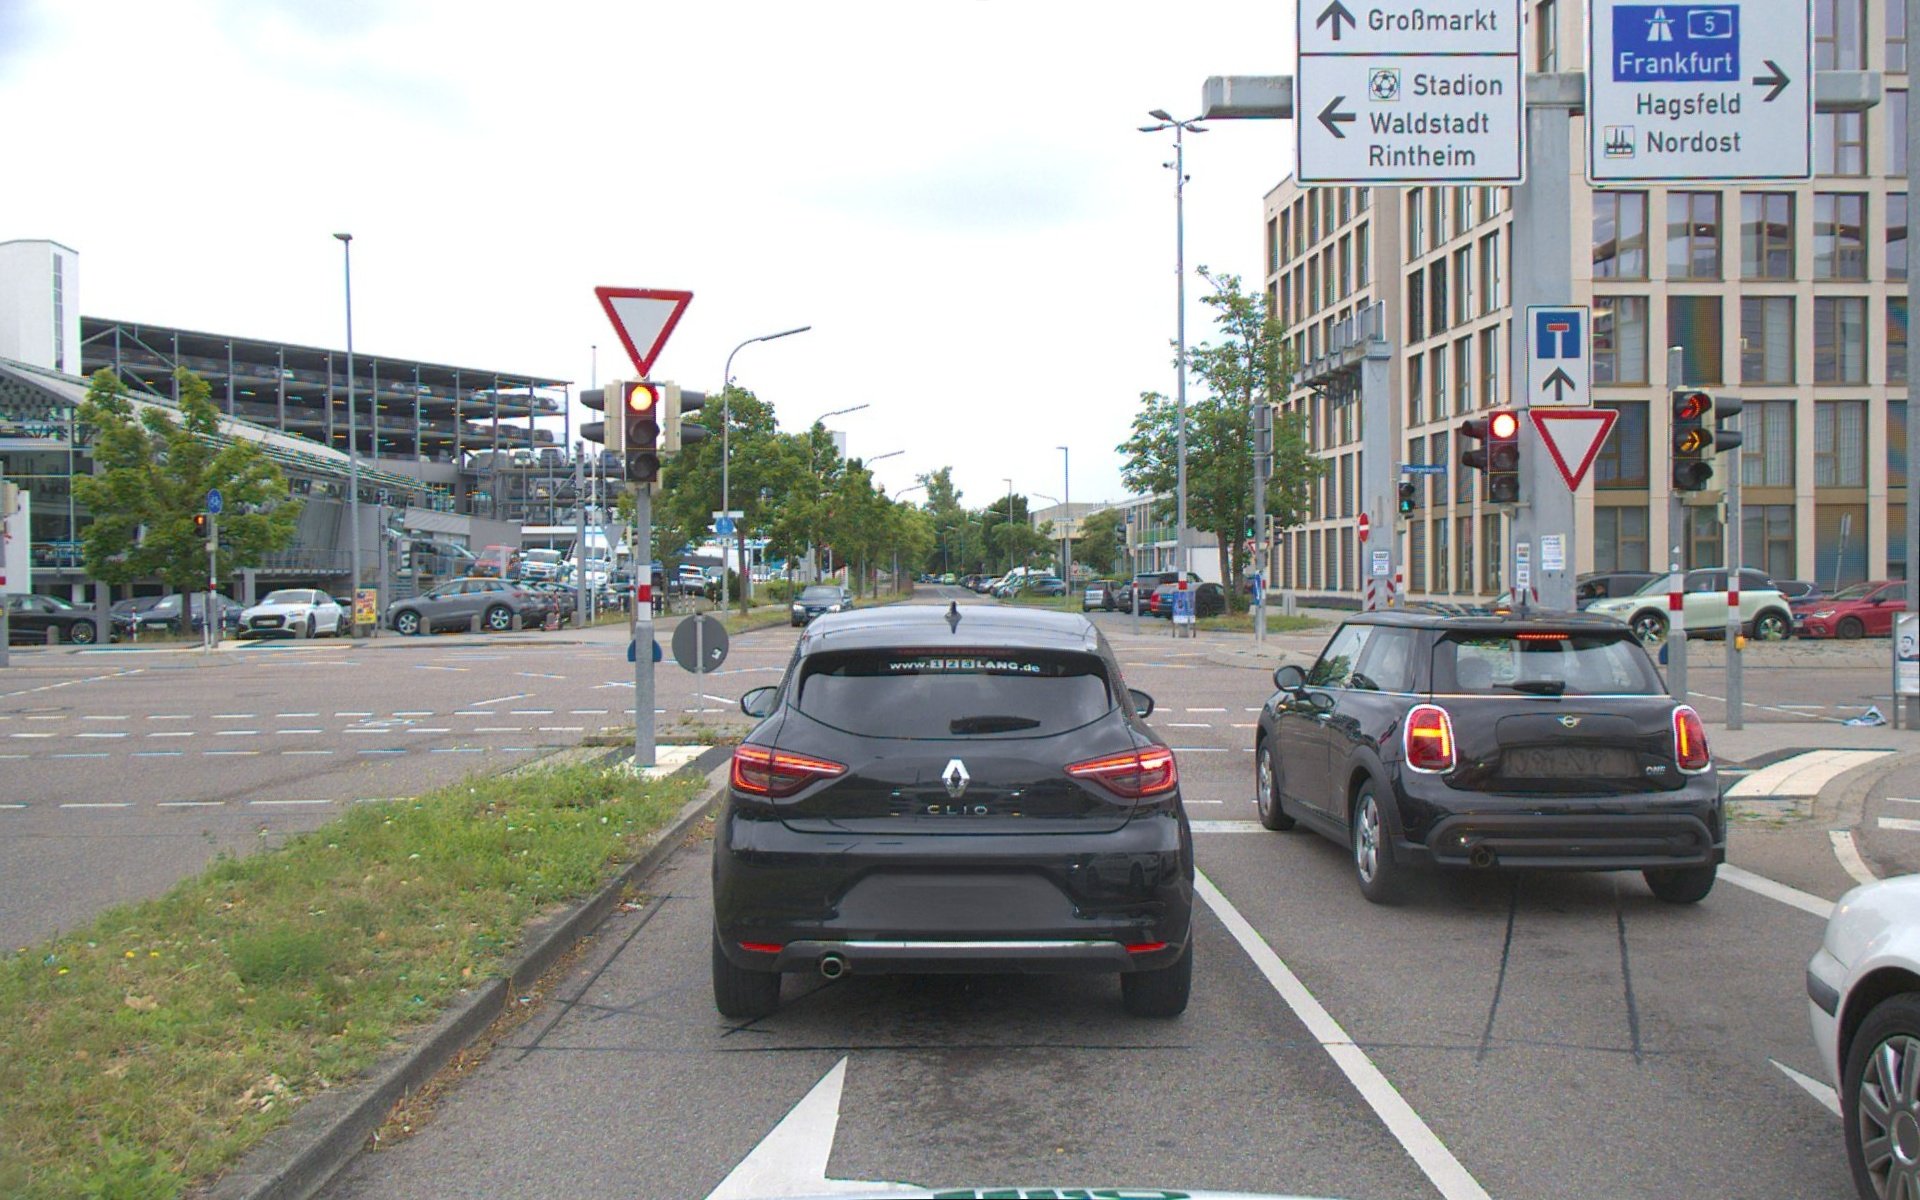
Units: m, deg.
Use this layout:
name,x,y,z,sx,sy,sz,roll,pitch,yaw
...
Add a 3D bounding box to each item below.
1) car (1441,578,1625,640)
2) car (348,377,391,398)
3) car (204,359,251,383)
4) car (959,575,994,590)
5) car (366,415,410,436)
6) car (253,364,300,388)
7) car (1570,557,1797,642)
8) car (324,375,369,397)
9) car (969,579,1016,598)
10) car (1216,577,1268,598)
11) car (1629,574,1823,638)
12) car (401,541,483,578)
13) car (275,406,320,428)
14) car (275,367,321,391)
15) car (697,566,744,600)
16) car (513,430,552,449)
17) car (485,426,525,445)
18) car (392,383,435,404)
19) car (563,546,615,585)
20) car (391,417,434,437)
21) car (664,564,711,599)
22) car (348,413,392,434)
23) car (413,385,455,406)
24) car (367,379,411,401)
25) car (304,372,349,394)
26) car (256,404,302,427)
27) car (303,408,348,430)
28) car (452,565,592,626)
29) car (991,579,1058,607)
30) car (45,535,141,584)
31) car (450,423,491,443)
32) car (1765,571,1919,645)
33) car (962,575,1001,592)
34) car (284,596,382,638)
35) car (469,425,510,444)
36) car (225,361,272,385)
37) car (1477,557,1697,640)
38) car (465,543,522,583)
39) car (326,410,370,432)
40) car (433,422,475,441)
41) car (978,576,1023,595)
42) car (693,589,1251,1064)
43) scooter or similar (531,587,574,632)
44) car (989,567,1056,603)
name,x,y,z,sx,sy,sz,roll,pitch,yaw
car,14.338,0.232,41.480,4.005,1.457,1.749,1,0,-5
car,-57.127,-20.545,160.001,3.914,1.696,1.996,1,1,31
car,-64.938,-20.267,146.616,3.914,1.696,1.996,1,1,31
car,2.273,-2.472,229.930,4.690,1.924,2.142,1,0,-3
car,-55.948,-17.088,161.774,3.914,1.696,1.996,1,1,31
car,-62.450,-20.463,151.098,3.914,1.696,1.996,1,1,31
car,15.227,-0.006,34.916,3.977,1.672,1.903,1,0,-6
car,-58.470,-20.390,157.679,3.914,1.696,1.996,1,1,31
car,3.603,-1.253,182.233,5.069,2.049,2.143,1,0,-2
car,18.952,-0.820,111.147,3.182,1.356,1.477,1,0,-20
car,19.304,0.159,41.781,4.055,1.517,1.870,1,0,-5
car,-28.059,-2.176,89.645,3.908,1.870,1.759,1,0,-4
car,-61.419,-16.948,153.288,3.914,1.696,1.996,1,1,31
car,-61.213,-20.434,152.984,3.914,1.696,1.996,1,1,31
car,-12.108,-0.833,83.806,1.954,1.646,3.998,1,0,-3
car,-46.278,-17.357,179.043,3.914,1.696,1.996,1,1,31
car,-48.356,-17.453,175.660,3.914,1.696,1.996,1,1,31
car,-54.378,-20.565,164.529,3.914,1.696,1.996,1,1,31
car,-18.605,-1.711,83.176,1.954,1.855,3.996,1,0,-4
car,-54.385,-17.185,164.367,3.914,1.696,1.996,1,1,31
car,-13.649,-0.907,83.089,1.954,1.646,3.996,1,0,-4
car,-57.083,-17.088,159.905,3.914,1.696,1.996,1,1,31
car,-53.062,-20.616,166.851,3.914,1.696,1.996,1,1,31
car,-55.884,-20.507,161.844,3.914,1.696,1.996,1,1,31
car,-59.586,-20.417,155.650,3.914,1.696,1.996,1,1,31
car,-62.278,-16.835,151.194,3.914,1.696,1.996,1,1,31
car,-59.639,-17.028,155.545,3.914,1.696,1.996,1,1,31
car,-16.208,-0.175,61.426,4.683,2.049,1.997,-2,0,-7
car,5.010,-0.528,129.056,5.070,2.049,2.142,1,0,-3
car,-32.730,-1.493,62.559,1.784,1.691,3.995,1,0,-5
car,-50.647,-17.289,171.144,3.914,1.696,1.996,1,1,31
car,21.268,0.201,38.705,3.908,1.629,1.998,1,0,-4
car,2.843,-2.196,218.880,5.069,2.049,2.143,1,0,-2
car,-29.088,0.790,76.795,3.911,1.870,1.757,1,0,-7
car,-49.422,-17.398,173.687,3.914,1.696,1.996,1,1,31
car,-64.003,-20.396,148.679,3.914,1.696,1.996,1,1,31
car,14.434,-0.026,38.198,4.321,1.800,1.998,1,0,-5
car,-23.426,-1.855,83.216,1.954,1.881,3.996,1,0,-4
car,-58.344,-17.063,157.690,3.914,1.696,1.996,1,1,31
car,-51.743,-17.232,169.166,3.914,1.696,1.996,1,1,31
car,4.292,-1.572,175.644,4.690,1.924,2.142,1,0,-3
car,0.014,0.717,7.166,1.721,1.460,3.999,1,0,-1
scooter or similar,-11.852,0.269,48.124,0.545,1.240,1.561,2,1,13
car,5.738,-1.406,151.678,5.993,3.171,2.133,1,0,-2
